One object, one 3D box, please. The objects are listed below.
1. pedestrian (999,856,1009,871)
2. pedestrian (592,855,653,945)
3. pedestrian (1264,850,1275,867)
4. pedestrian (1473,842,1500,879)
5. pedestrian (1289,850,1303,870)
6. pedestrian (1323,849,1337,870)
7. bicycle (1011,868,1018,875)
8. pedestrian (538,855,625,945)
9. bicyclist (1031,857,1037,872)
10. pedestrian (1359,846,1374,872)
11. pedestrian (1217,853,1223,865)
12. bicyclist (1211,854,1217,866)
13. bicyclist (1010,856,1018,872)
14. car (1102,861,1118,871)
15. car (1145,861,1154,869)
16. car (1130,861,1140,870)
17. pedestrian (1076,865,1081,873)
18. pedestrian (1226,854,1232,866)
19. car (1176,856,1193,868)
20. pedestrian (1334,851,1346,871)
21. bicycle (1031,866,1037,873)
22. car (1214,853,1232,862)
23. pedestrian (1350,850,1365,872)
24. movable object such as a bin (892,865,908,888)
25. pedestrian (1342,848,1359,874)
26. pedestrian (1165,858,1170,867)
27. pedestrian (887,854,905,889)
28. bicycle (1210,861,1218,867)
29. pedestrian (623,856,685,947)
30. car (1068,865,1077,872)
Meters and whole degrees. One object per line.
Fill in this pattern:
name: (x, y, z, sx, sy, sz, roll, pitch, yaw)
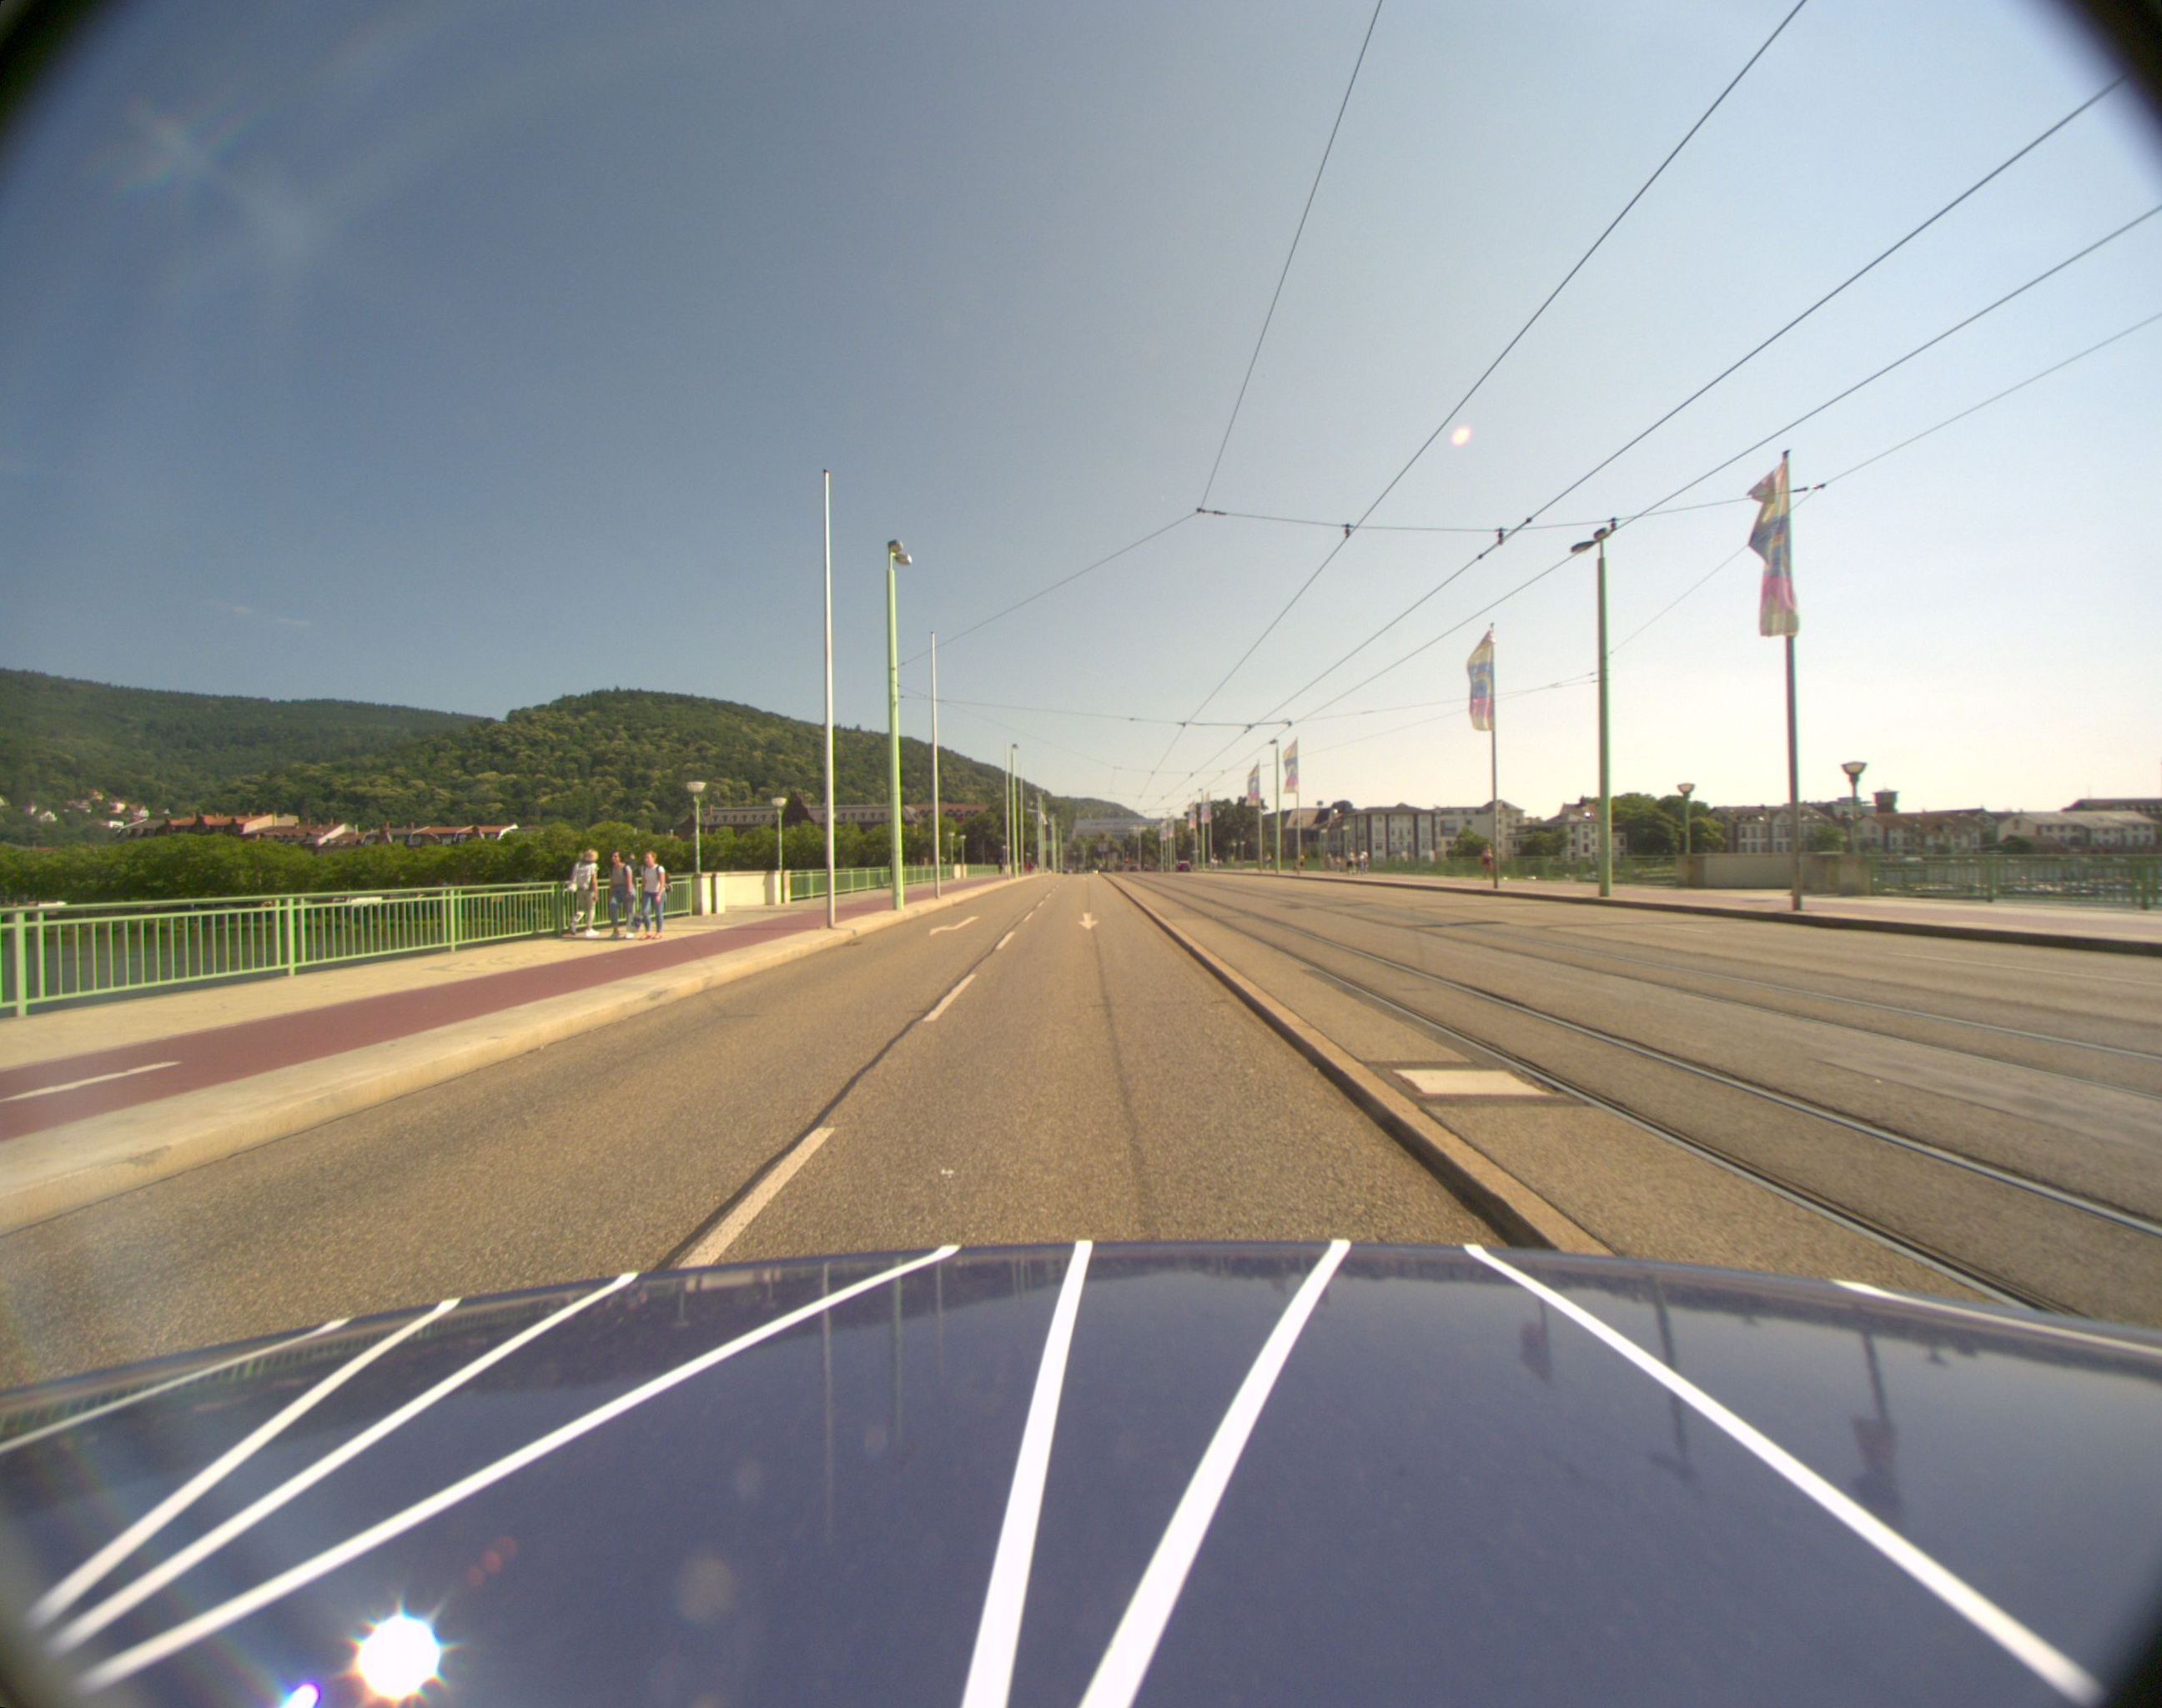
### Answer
pedestrian: (-8.713, 1.033, 86.307, 0.950, 1.653, 1.082, 1, 0, 0)
pedestrian: (-8.632, 0.847, 14.324, 0.669, 1.649, 0.746, 0, 1, 0)
pedestrian: (19.464, 0.475, 78.461, 0.787, 1.690, 1.022, -3, 1, 0)
pedestrian: (19.378, 0.306, 36.299, 0.686, 1.680, 1.022, -3, 1, 0)
pedestrian: (18.386, 0.495, 64.996, 0.787, 1.690, 1.022, -3, 1, 0)
pedestrian: (18.599, 0.404, 56.729, 0.627, 1.590, 1.022, -3, 1, 0)
bicycle: (-7.082, 1.835, 80.706, 0.595, 0.761, 1.866, 0, 0, 1)
pedestrian: (-9.532, 0.843, 14.542, 0.950, 1.653, 1.082, 0, 1, 0)
bicyclist: (-5.465, 1.189, 88.411, 0.587, 1.759, 0.672, 0, 1, 1)
pedestrian: (19.468, 0.335, 51.853, 0.592, 1.690, 1.022, -3, 1, 0)
pedestrian: (20.250, 0.791, 110.683, 0.592, 1.690, 1.022, -6, 0, 0)
bicyclist: (17.751, 0.768, 101.495, 0.666, 1.641, 0.622, -1, 1, 1)
bicyclist: (-7.087, 1.086, 80.755, 0.731, 1.655, 0.844, 0, 0, 1)
car: (7.400, 3.054, 194.103, 3.997, 2.002, 2.000, -6, 0, -2)
car: (14.021, 2.278, 155.484, 1.672, 1.428, 4.000, -1, 1, 1)
car: (11.042, 2.369, 155.616, 1.714, 1.686, 4.000, -5, 0, 1)
pedestrian: (-0.773, 3.937, 203.713, 1.202, 2.002, 1.034, -3, 2, -4)
pedestrian: (20.838, 0.850, 106.992, 0.592, 1.690, 0.905, -6, 0, 0)
car: (13.722, 1.051, 101.094, 1.721, 1.446, 3.901, 0, 0, 0)
pedestrian: (19.321, 0.518, 56.761, 0.547, 1.429, 0.789, -3, 1, 0)
bicycle: (-5.461, 1.841, 88.394, 0.595, 0.761, 1.866, 0, 0, 1)
car: (35.040, 0.827, 187.362, 3.996, 2.002, 2.000, -5, 0, 2)
pedestrian: (18.564, 0.453, 51.010, 0.592, 1.406, 1.022, -3, 0, 0)
movable object such as a bin: (-9.098, 1.128, 38.298, 0.583, 1.084, 0.933, 0, 0, 0)
pedestrian: (18.139, 0.494, 51.107, 0.671, 1.690, 1.022, -3, 1, 0)
pedestrian: (18.467, 1.810, 162.179, 0.787, 1.690, 1.022, -3, 1, 0)
pedestrian: (-9.104, 0.834, 37.447, 0.664, 1.696, 0.859, 0, 1, 0)
bicycle: (17.771, 1.345, 101.502, 0.667, 0.712, 2.173, -1, 0, 1)
pedestrian: (-7.950, 0.865, 14.181, 0.664, 1.649, 0.825, 0, 1, 0)
car: (-2.011, 3.464, 182.585, 1.998, 1.379, 4.000, -6, 0, 1)
